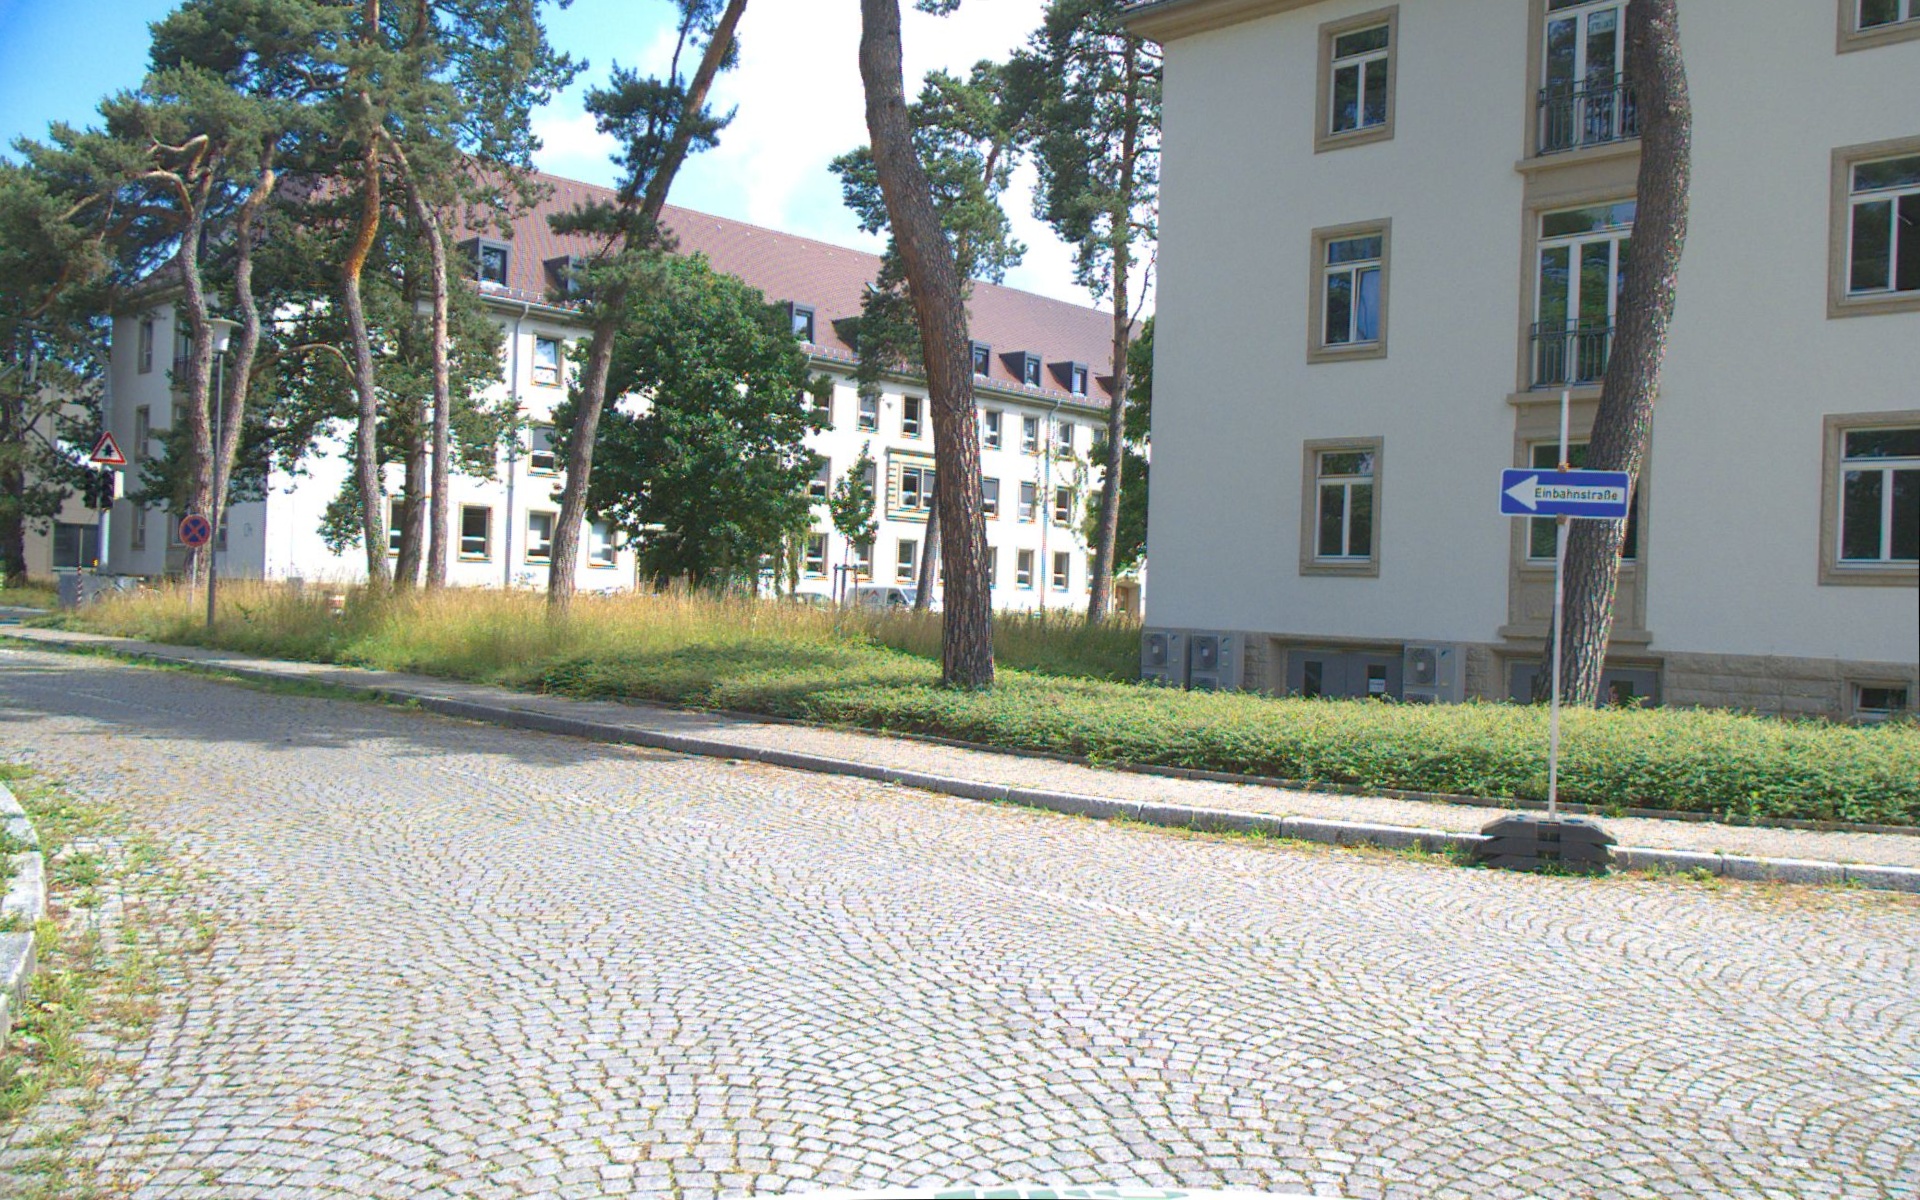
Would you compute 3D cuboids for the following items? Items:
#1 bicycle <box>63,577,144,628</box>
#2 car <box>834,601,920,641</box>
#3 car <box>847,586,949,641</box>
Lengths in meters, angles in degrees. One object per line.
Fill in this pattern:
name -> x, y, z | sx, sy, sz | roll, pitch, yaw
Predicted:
bicycle -> -19.672, 0.059, 37.994 | 1.568, 1.120, 0.485 | 3, -1, -35
car -> -3.132, 0.795, 61.998 | 1.415, 1.367, 3.241 | 3, -1, -45
car -> -2.464, 0.516, 64.910 | 1.700, 2.026, 4.005 | 3, -1, -45
